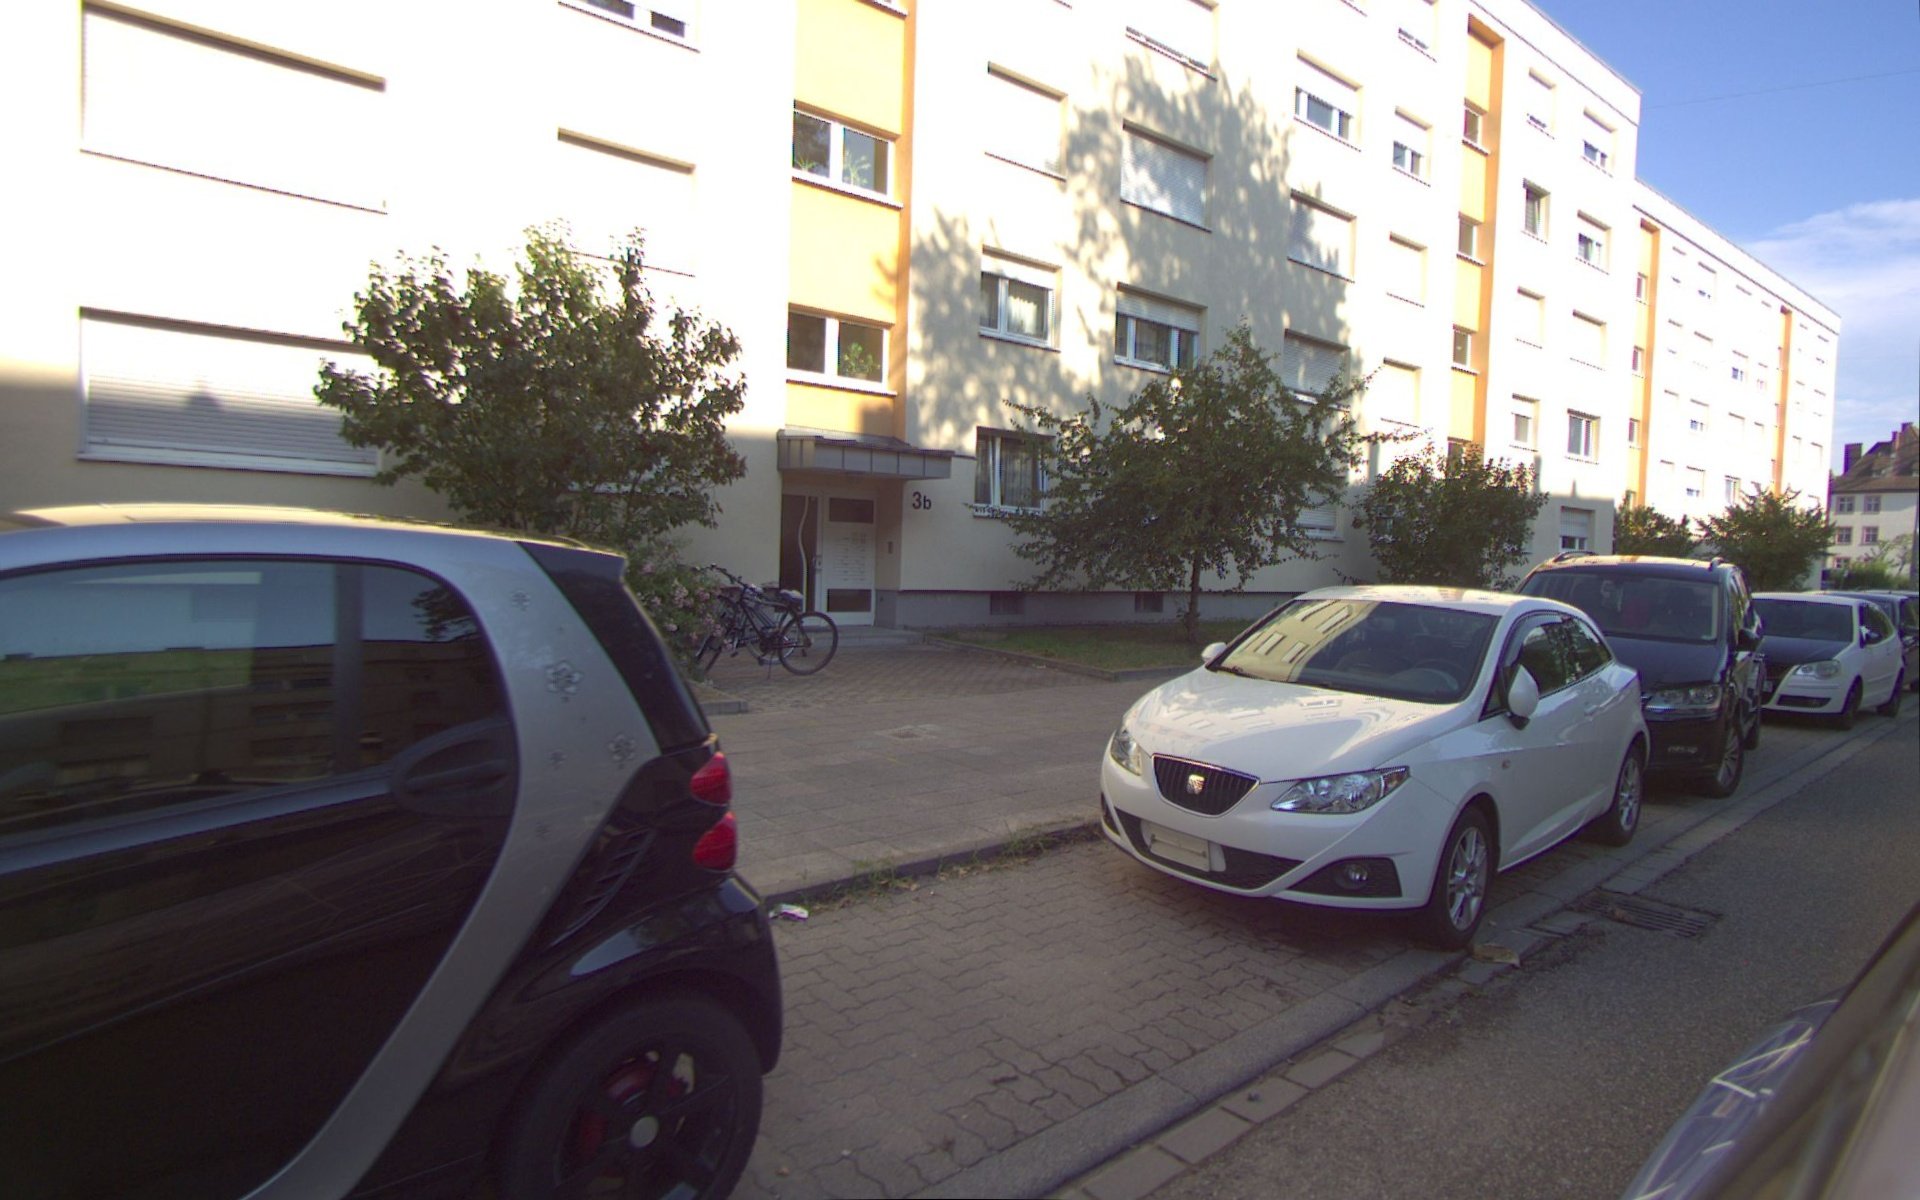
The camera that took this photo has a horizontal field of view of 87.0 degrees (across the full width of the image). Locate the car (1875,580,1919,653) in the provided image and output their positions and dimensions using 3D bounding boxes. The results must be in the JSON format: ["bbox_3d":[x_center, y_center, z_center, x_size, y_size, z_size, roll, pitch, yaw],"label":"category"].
[{"bbox_3d":[22.353,0.383,22.976,3.933,1.459,1.877,-2,7,-43],"label":"car"}]

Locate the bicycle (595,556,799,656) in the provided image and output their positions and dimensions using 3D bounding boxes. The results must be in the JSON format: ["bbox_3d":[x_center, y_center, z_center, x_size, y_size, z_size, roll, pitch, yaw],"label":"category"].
[{"bbox_3d":[-3.132,0.075,12.263,2.351,1.095,0.601,1,2,-41],"label":"bicycle"}]

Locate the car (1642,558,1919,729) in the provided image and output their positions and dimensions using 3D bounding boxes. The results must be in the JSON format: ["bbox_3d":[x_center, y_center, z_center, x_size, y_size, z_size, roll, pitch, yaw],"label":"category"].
[{"bbox_3d":[9.890,0.351,11.947,4.098,1.518,1.843,-2,8,-40],"label":"car"}]

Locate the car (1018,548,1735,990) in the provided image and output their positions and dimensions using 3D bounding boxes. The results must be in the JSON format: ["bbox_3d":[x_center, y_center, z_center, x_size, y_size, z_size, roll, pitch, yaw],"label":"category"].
[{"bbox_3d":[2.570,0.473,5.512,4.642,1.432,1.683,-2,5,-41],"label":"car"}]

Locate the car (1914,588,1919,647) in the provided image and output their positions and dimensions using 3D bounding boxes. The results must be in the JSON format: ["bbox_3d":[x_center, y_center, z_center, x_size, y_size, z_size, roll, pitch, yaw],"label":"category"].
[{"bbox_3d":[26.295,0.403,26.399,4.238,1.456,1.664,-2,2,-41],"label":"car"}]

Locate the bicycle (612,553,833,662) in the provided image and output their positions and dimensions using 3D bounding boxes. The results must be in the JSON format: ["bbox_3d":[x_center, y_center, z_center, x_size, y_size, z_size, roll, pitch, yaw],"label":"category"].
[{"bbox_3d":[-2.587,0.081,11.258,2.351,1.095,0.601,1,2,-41],"label":"bicycle"}]

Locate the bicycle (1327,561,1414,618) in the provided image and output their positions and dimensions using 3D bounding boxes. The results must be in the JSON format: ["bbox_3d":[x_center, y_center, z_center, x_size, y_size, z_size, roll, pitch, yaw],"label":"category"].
[{"bbox_3d":[8.760,-0.233,21.551,2.350,1.126,0.495,-1,7,-37],"label":"bicycle"}]

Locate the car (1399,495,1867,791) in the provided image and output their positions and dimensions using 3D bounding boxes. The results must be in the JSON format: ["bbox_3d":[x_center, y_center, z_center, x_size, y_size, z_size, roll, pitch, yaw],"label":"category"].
[{"bbox_3d":[5.960,0.199,8.716,4.684,1.769,2.030,0,8,-41],"label":"car"}]

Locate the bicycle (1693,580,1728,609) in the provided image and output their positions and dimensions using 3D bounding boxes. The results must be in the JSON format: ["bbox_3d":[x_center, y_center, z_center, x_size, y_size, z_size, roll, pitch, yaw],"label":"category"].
[{"bbox_3d":[25.692,-0.195,34.619,1.757,0.953,0.439,-2,1,-35],"label":"bicycle"}]

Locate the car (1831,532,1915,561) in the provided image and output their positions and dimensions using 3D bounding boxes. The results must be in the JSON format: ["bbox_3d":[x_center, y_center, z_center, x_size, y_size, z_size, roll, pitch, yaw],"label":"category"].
[{"bbox_3d":[61.416,-3.563,68.132,1.965,1.816,3.995,-2,2,-39],"label":"car"}]

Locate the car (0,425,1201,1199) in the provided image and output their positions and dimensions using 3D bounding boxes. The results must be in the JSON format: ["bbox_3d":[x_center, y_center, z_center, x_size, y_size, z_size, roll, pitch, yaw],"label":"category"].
[{"bbox_3d":[-1.264,0.477,2.452,3.973,1.512,1.609,-2,3,-41],"label":"car"}]

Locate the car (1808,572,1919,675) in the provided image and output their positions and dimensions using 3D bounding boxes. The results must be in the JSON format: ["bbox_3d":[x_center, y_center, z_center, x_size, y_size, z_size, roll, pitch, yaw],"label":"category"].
[{"bbox_3d":[17.793,0.373,19.119,4.205,1.624,1.967,-2,6,-41],"label":"car"}]

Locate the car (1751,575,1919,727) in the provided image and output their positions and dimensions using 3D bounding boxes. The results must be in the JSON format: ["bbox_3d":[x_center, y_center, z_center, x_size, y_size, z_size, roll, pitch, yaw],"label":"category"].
[{"bbox_3d":[13.811,0.635,15.437,3.909,1.791,1.843,-2,8,-41],"label":"car"}]

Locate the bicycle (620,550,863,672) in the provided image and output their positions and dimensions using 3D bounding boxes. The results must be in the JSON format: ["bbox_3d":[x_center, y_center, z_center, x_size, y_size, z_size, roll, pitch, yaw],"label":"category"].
[{"bbox_3d":[-2.124,0.103,10.147,2.351,1.095,0.601,1,2,-41],"label":"bicycle"}]
